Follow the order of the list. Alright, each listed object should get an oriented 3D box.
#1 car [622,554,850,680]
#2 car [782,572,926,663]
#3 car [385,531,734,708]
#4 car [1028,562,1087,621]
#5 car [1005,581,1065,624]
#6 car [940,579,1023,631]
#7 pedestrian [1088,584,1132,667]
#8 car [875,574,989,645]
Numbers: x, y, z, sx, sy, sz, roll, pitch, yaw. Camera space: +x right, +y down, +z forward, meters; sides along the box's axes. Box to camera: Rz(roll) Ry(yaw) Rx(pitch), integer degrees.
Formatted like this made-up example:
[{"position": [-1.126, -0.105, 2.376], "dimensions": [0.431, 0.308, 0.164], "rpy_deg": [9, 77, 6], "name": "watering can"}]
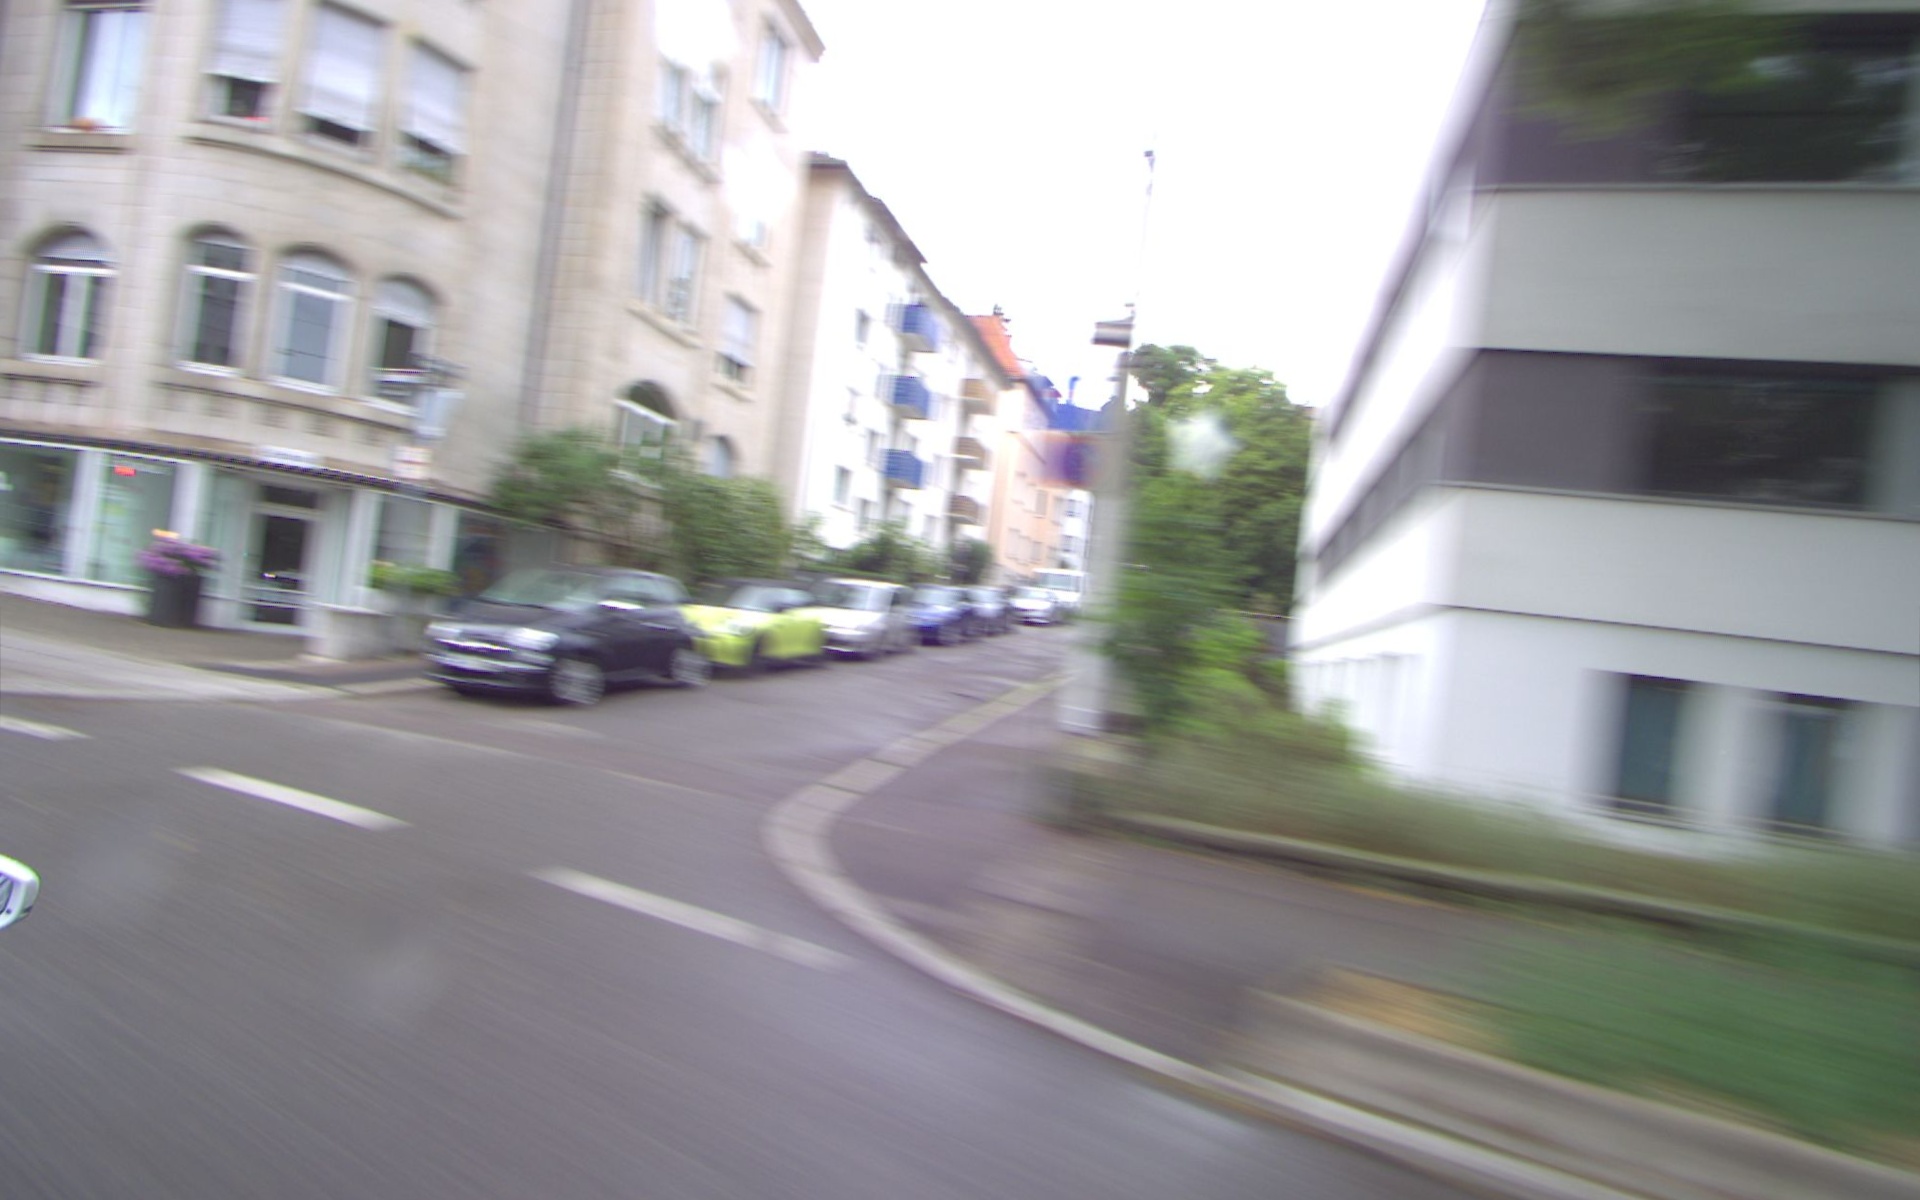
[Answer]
[{"position": [-3.325, 0.254, 15.653], "dimensions": [1.705, 1.527, 3.668], "rpy_deg": [8, 2, 18], "name": "car"}, {"position": [-2.006, 0.286, 20.112], "dimensions": [1.593, 1.528, 3.770], "rpy_deg": [5, 2, 14], "name": "car"}, {"position": [-4.411, 0.203, 11.707], "dimensions": [1.705, 1.527, 3.668], "rpy_deg": [8, 2, 18], "name": "car"}, {"position": [4.331, -0.304, 44.011], "dimensions": [1.796, 2.302, 4.638], "rpy_deg": [5, 0, 14], "name": "car"}, {"position": [2.973, 0.124, 39.176], "dimensions": [1.593, 1.470, 3.955], "rpy_deg": [5, 0, 14], "name": "car"}, {"position": [0.722, 0.199, 30.282], "dimensions": [1.593, 1.341, 3.955], "rpy_deg": [5, 0, 14], "name": "car"}, {"position": [3.259, 0.558, 21.834], "dimensions": [0.637, 1.699, 0.704], "rpy_deg": [9, 1, 14], "name": "pedestrian"}, {"position": [-0.612, 0.208, 24.990], "dimensions": [1.593, 1.528, 3.894], "rpy_deg": [4, 1, 17], "name": "car"}]
